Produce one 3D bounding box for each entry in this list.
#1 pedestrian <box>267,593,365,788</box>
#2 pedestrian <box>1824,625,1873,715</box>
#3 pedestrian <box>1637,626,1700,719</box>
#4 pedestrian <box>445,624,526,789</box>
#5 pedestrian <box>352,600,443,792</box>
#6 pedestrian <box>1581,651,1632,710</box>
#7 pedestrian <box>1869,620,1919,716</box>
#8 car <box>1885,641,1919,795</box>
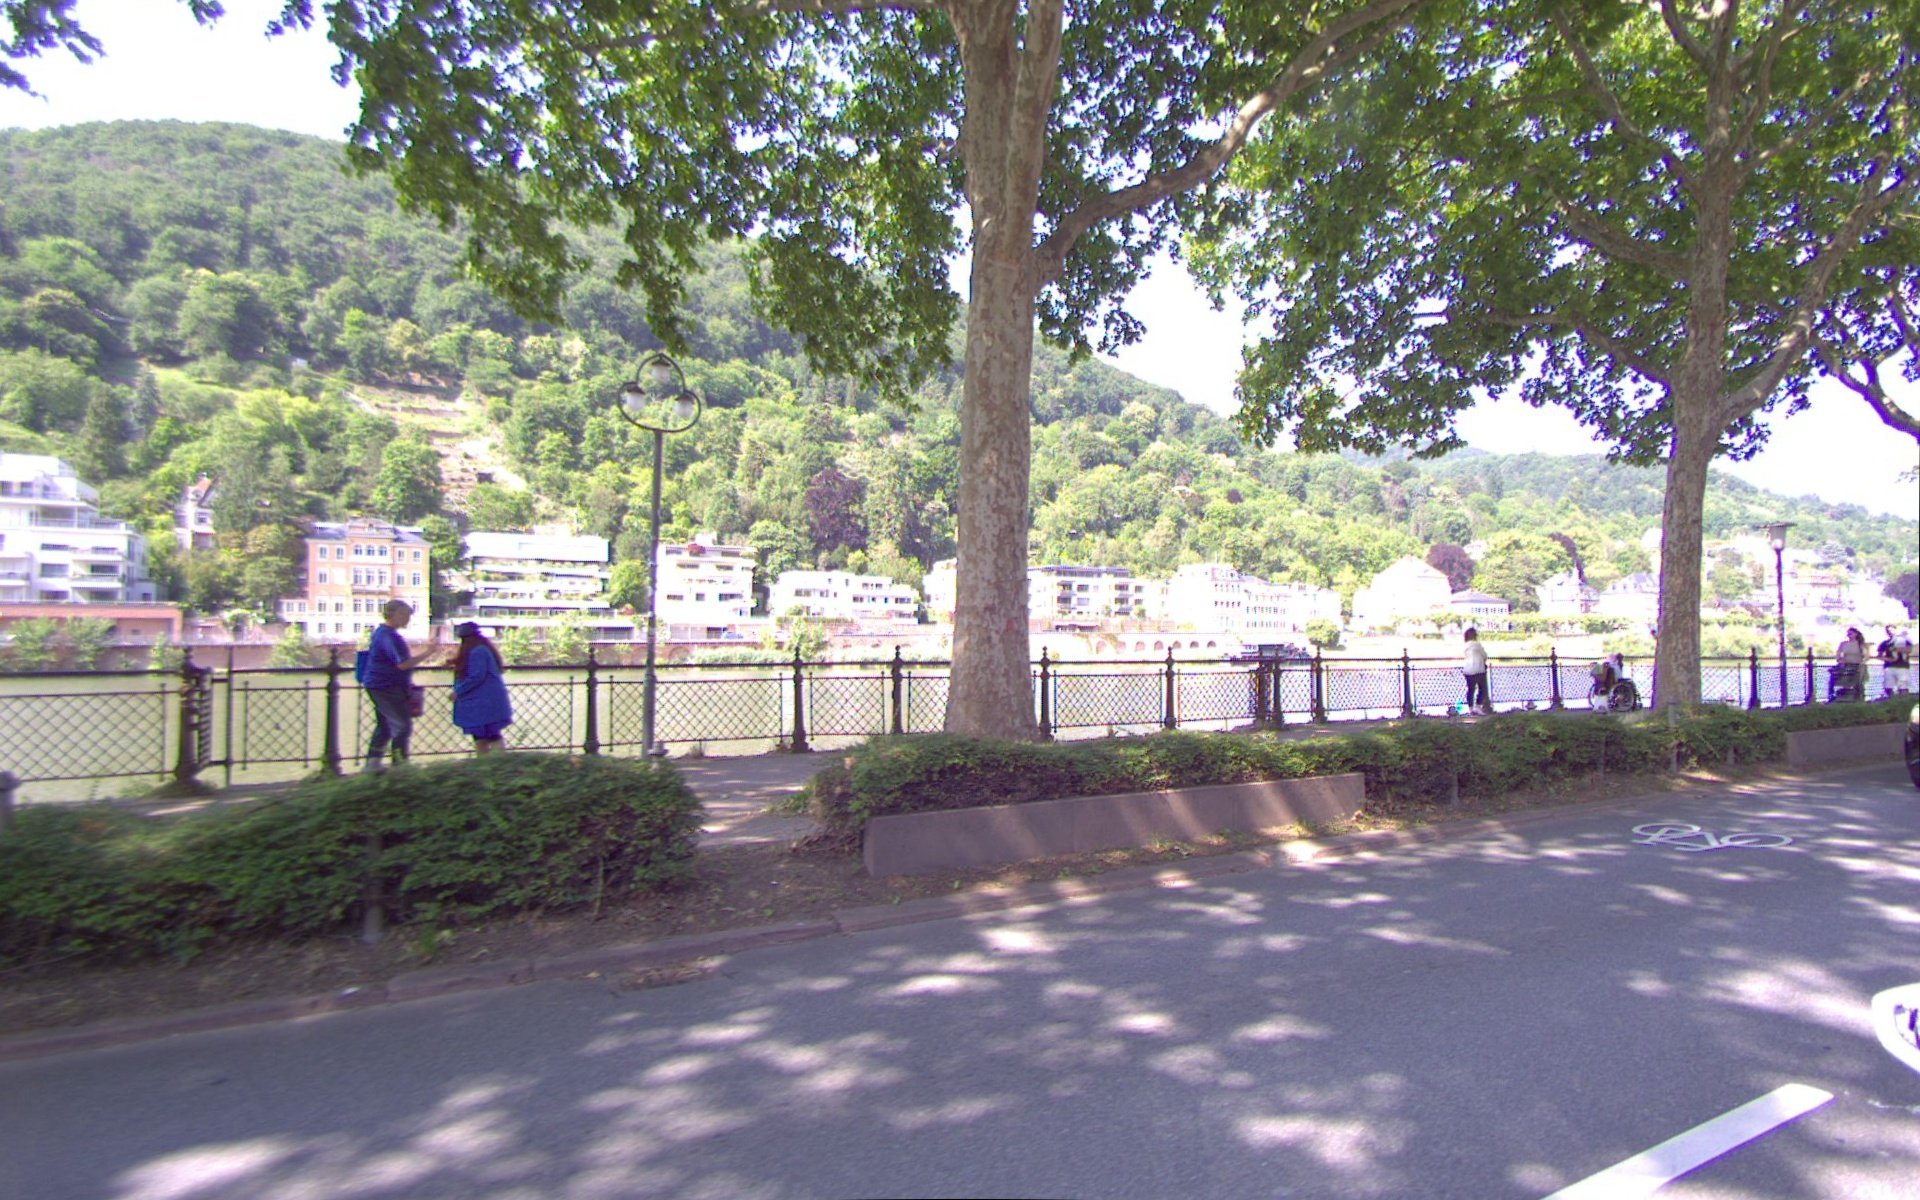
[{"bbox_3d":[-6.320,0.865,9.895,0.696,1.820,0.701,1,-2,-27],"label":"pedestrian"},{"bbox_3d":[18.114,1.422,20.478,0.585,1.791,0.515,1,-3,-29],"label":"pedestrian"},{"bbox_3d":[13.736,1.383,19.471,0.864,1.740,0.689,2,0,-31],"label":"pedestrian"},{"bbox_3d":[-4.901,1.066,10.366,0.696,1.624,0.701,2,-2,-27],"label":"pedestrian"},{"bbox_3d":[-5.385,0.894,9.656,0.696,1.753,0.701,2,-2,-27],"label":"pedestrian"},{"bbox_3d":[13.332,1.646,20.724,0.686,1.193,0.607,1,-3,-28],"label":"pedestrian"},{"bbox_3d":[19.001,1.363,20.300,0.796,1.894,0.638,1,-3,-29],"label":"pedestrian"},{"bbox_3d":[11.218,1.139,10.191,3.735,1.488,1.642,1,-4,-30],"label":"car"}]
